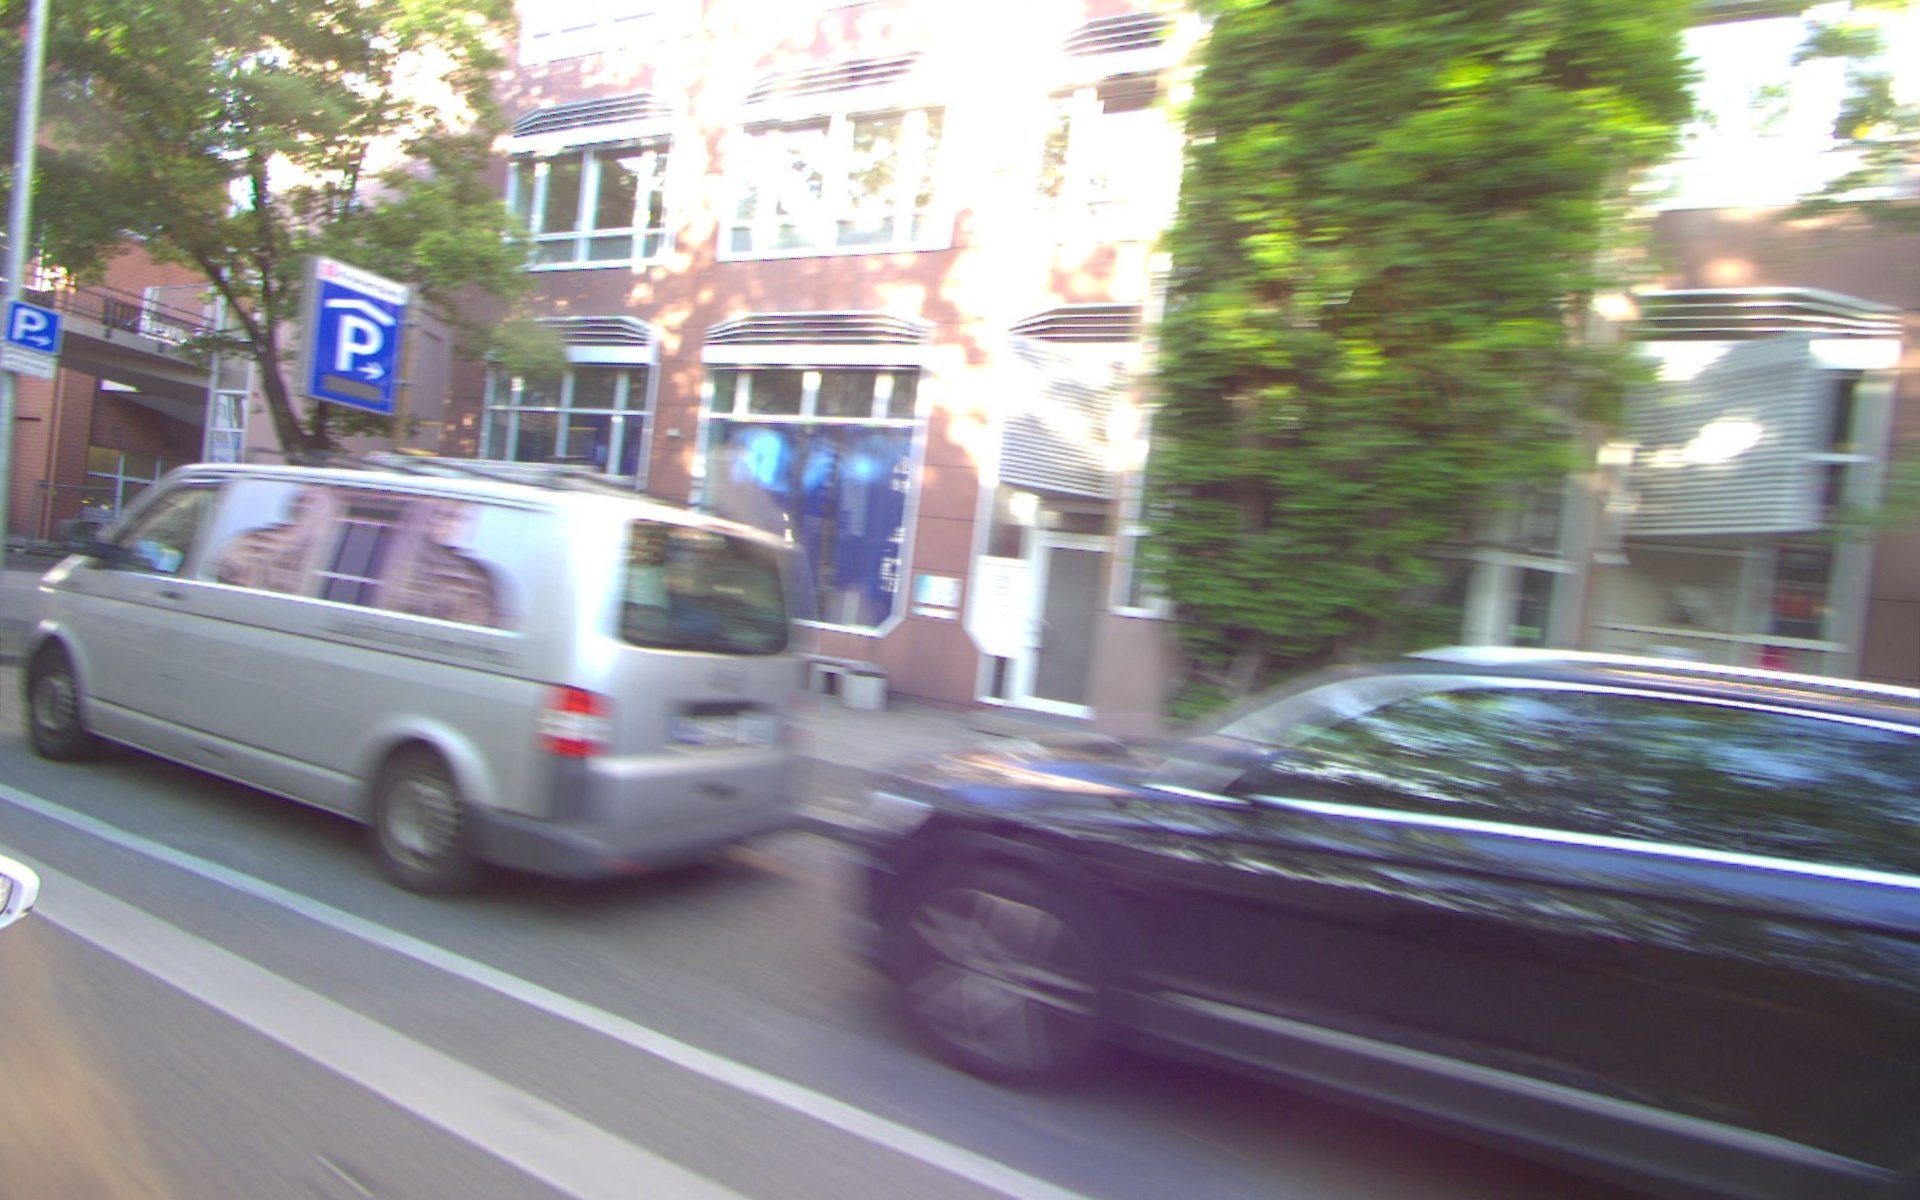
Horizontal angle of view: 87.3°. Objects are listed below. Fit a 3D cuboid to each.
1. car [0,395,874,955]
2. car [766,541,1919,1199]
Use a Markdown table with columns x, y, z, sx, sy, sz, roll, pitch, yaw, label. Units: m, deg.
| x | y | z | sx | sy | sz | roll | pitch | yaw | label |
| --- | --- | --- | --- | --- | --- | --- | --- | --- | --- |
| -3.278 | 0.128 | 5.895 | 5.078 | 2.104 | 1.923 | 7 | 0 | 26 | car |
| 1.614 | 0.905 | 3.535 | 4.125 | 1.691 | 1.792 | 7 | 0 | 26 | car |
